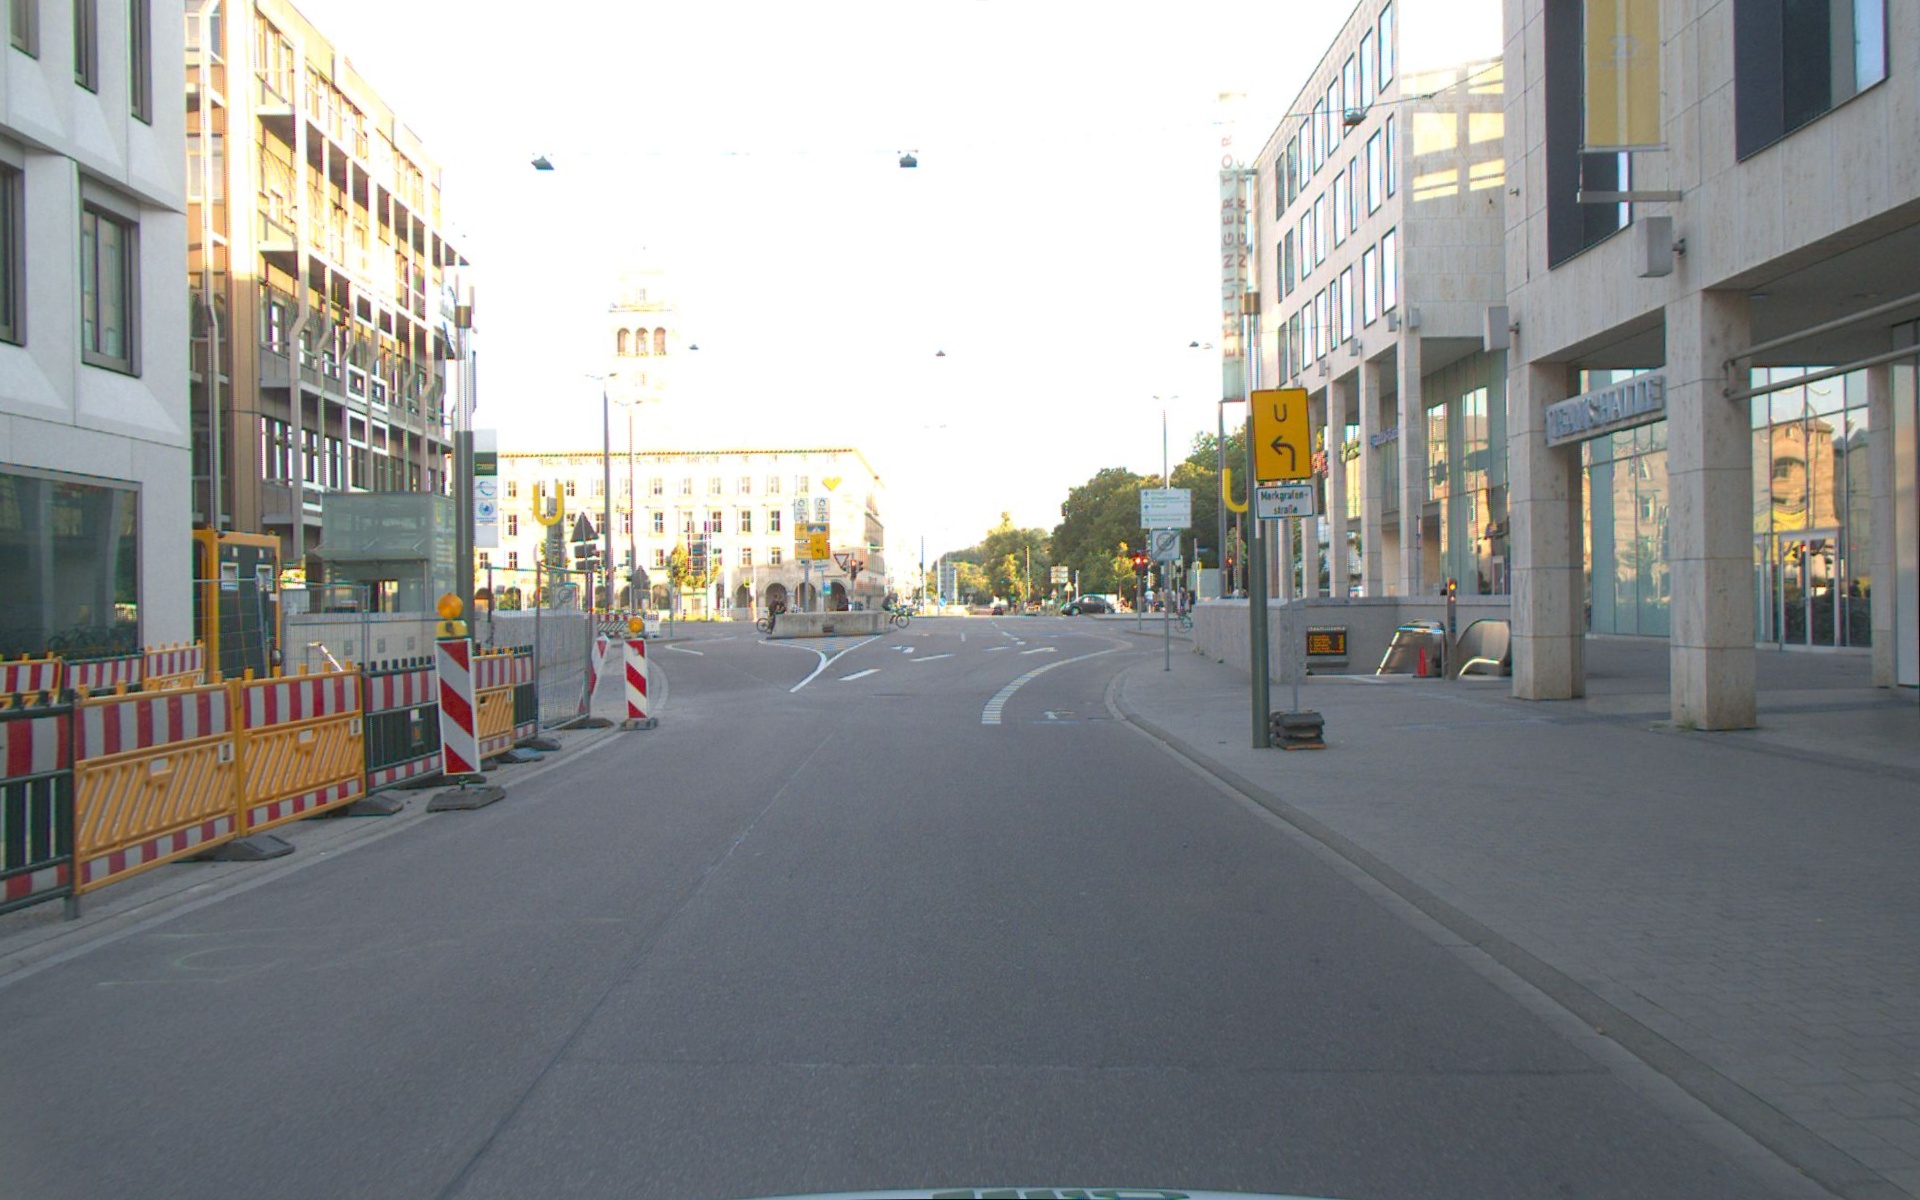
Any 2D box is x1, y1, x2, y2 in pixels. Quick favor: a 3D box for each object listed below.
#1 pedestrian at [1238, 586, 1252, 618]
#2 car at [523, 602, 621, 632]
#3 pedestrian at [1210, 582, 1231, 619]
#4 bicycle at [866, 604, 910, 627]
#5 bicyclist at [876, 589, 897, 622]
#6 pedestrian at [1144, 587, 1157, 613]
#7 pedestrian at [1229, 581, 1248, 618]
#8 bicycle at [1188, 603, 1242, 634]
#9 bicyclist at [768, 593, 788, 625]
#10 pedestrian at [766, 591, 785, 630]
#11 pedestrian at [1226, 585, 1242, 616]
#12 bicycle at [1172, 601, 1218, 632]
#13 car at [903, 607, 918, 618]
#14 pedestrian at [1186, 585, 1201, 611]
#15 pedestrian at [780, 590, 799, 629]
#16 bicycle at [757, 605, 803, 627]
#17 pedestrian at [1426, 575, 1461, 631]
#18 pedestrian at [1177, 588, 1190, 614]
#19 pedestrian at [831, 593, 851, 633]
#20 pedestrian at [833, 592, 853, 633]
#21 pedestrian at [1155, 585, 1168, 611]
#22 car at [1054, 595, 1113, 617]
[{"bbox_3d":[15.734,0.117,91.371,0.677,1.760,0.741,-1,0,2],"label":"pedestrian"},{"bbox_3d":[-20.768,0.913,88.653,4.699,1.522,2.128,-1,0,-1],"label":"car"},{"bbox_3d":[13.236,0.022,83.981,0.843,1.807,0.741,-3,0,1],"label":"pedestrian"},{"bbox_3d":[-3.629,0.785,83.457,2.196,1.080,0.653,-1,0,0],"label":"bicycle"},{"bbox_3d":[-3.722,0.260,83.454,0.999,1.649,0.653,-1,0,0],"label":"bicyclist"},{"bbox_3d":[13.019,-0.014,113.010,0.792,1.760,0.688,-1,0,-2],"label":"pedestrian"},{"bbox_3d":[14.121,-0.036,83.895,0.740,1.807,0.741,-3,0,1],"label":"pedestrian"},{"bbox_3d":[9.055,0.657,58.736,1.858,1.066,0.571,-1,0,5],"label":"bicycle"},{"bbox_3d":[-9.138,0.459,83.069,0.861,1.557,0.653,-1,0,2],"label":"bicyclist"},{"bbox_3d":[-8.713,0.503,77.958,0.724,1.807,0.863,-3,0,-3],"label":"pedestrian"},{"bbox_3d":[15.619,0.014,94.311,0.818,1.760,0.688,-1,0,6],"label":"pedestrian"},{"bbox_3d":[9.739,0.674,68.529,1.779,1.233,0.571,-1,0,16],"label":"bicycle"},{"bbox_3d":[-7.200,1.813,239.815,1.952,1.545,4.001,-1,0,2],"label":"car"},{"bbox_3d":[15.962,-0.134,113.145,0.798,1.760,0.682,-1,0,-26],"label":"pedestrian"},{"bbox_3d":[-8.114,0.438,78.660,0.724,1.807,0.863,-3,0,-3],"label":"pedestrian"},{"bbox_3d":[-9.029,0.805,83.062,2.195,1.080,0.653,-1,0,1],"label":"bicycle"},{"bbox_3d":[16.281,0.101,55.715,0.843,1.808,0.990,-2,0,-1],"label":"pedestrian"},{"bbox_3d":[15.275,0.043,113.094,0.791,1.760,0.688,-1,0,12],"label":"pedestrian"},{"bbox_3d":[-5.443,0.581,75.694,0.726,1.808,0.860,0,0,-16],"label":"pedestrian"},{"bbox_3d":[-5.298,0.562,74.709,0.725,1.808,0.861,-2,0,-11],"label":"pedestrian"},{"bbox_3d":[13.772,-0.116,113.081,0.792,1.760,0.688,-1,0,-2],"label":"pedestrian"},{"bbox_3d":[8.991,0.448,120.323,3.916,1.520,1.823,-1,0,-12],"label":"car"}]
